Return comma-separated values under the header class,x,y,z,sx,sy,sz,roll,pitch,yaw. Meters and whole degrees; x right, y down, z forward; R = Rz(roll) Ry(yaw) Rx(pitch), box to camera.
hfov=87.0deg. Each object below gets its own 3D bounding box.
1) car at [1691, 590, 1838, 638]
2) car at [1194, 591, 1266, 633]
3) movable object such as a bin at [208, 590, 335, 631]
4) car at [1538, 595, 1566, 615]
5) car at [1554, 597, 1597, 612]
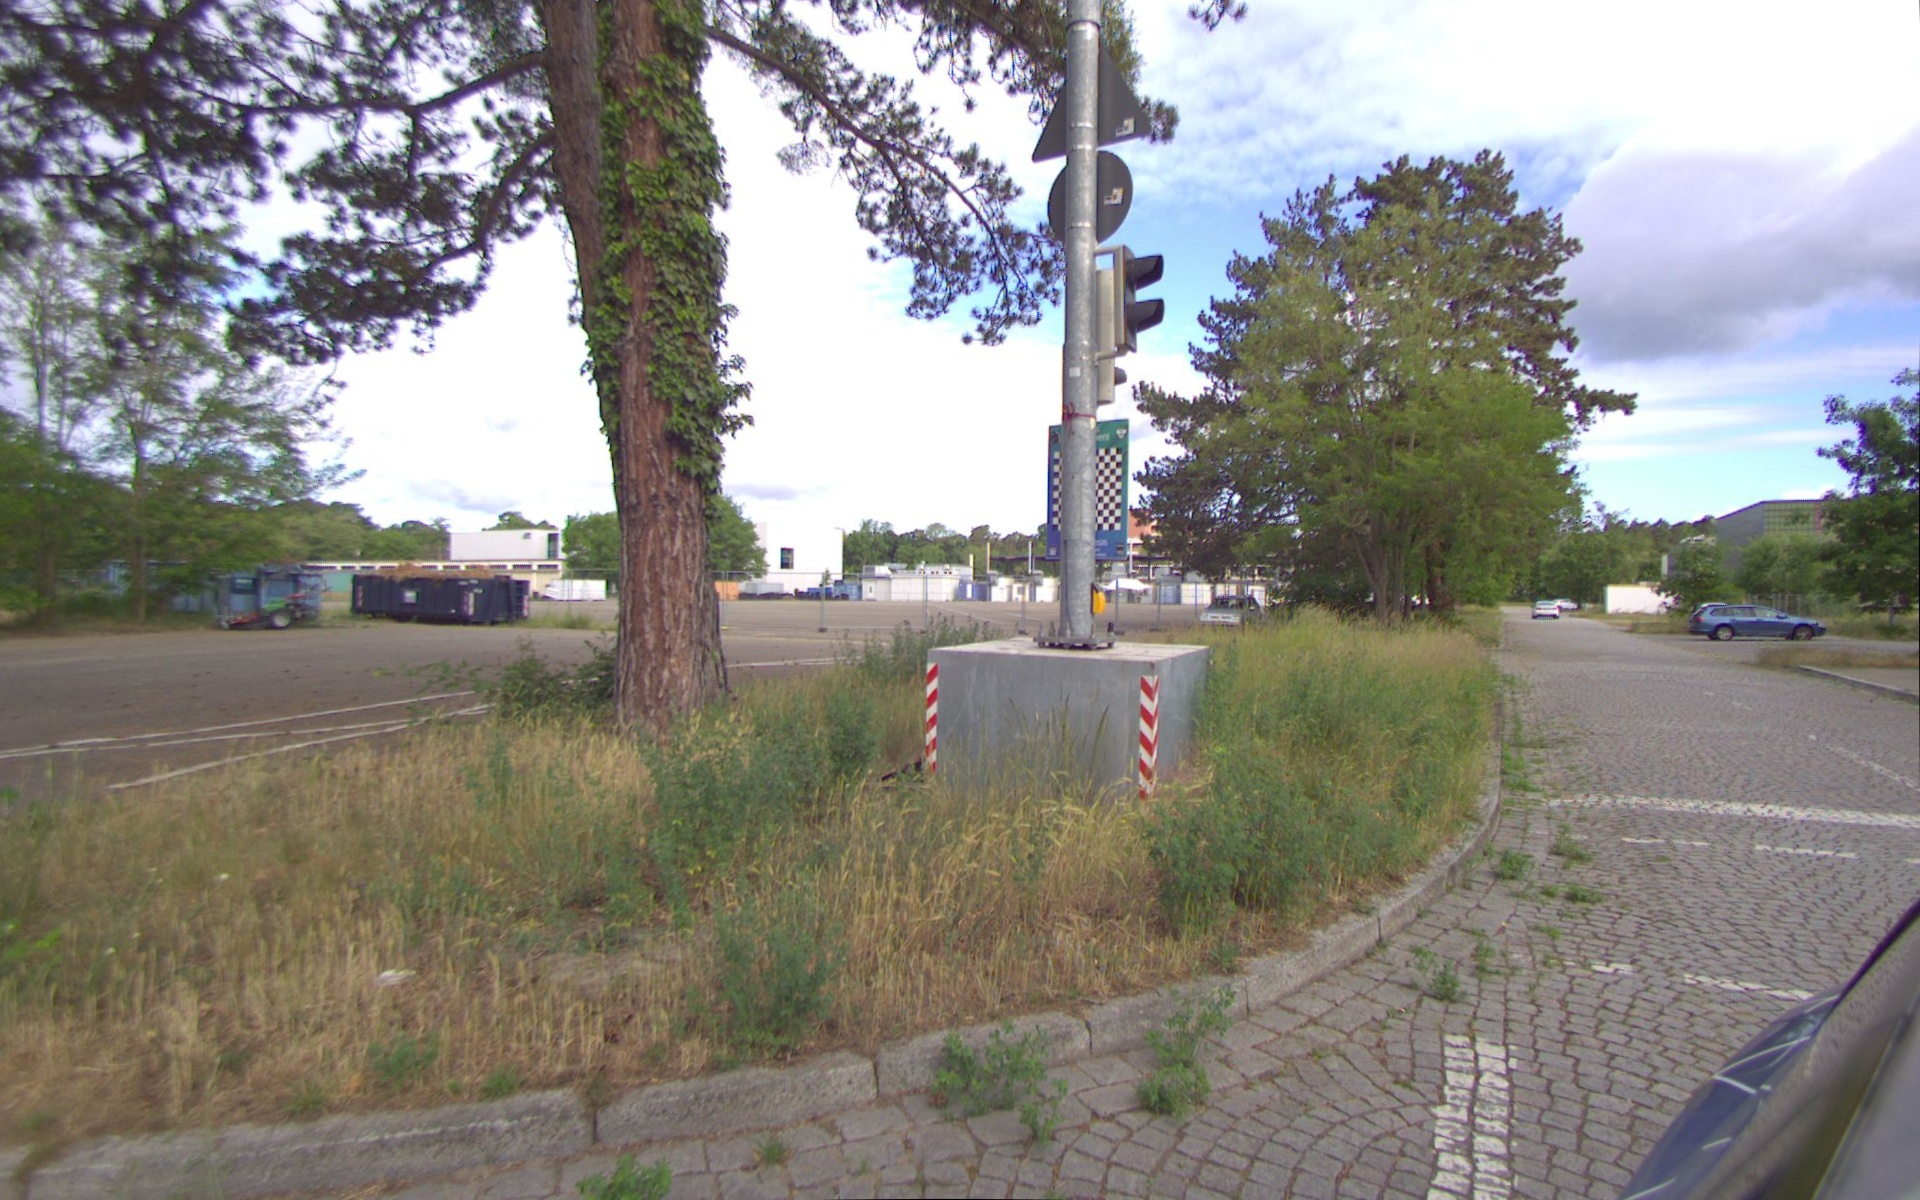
class,x,y,z,sx,sy,sz,roll,pitch,yaw
car,33.231,0.536,41.981,4.436,1.854,1.980,1,0,29
car,10.304,0.406,38.439,1.953,1.501,3.964,1,1,26
movable object such as a bin,-17.684,0.250,26.092,0.845,1.000,2.666,1,1,26
car,47.727,0.420,81.627,1.870,1.544,3.958,1,1,30
car,75.402,0.536,124.067,4.436,1.854,1.980,1,0,29
